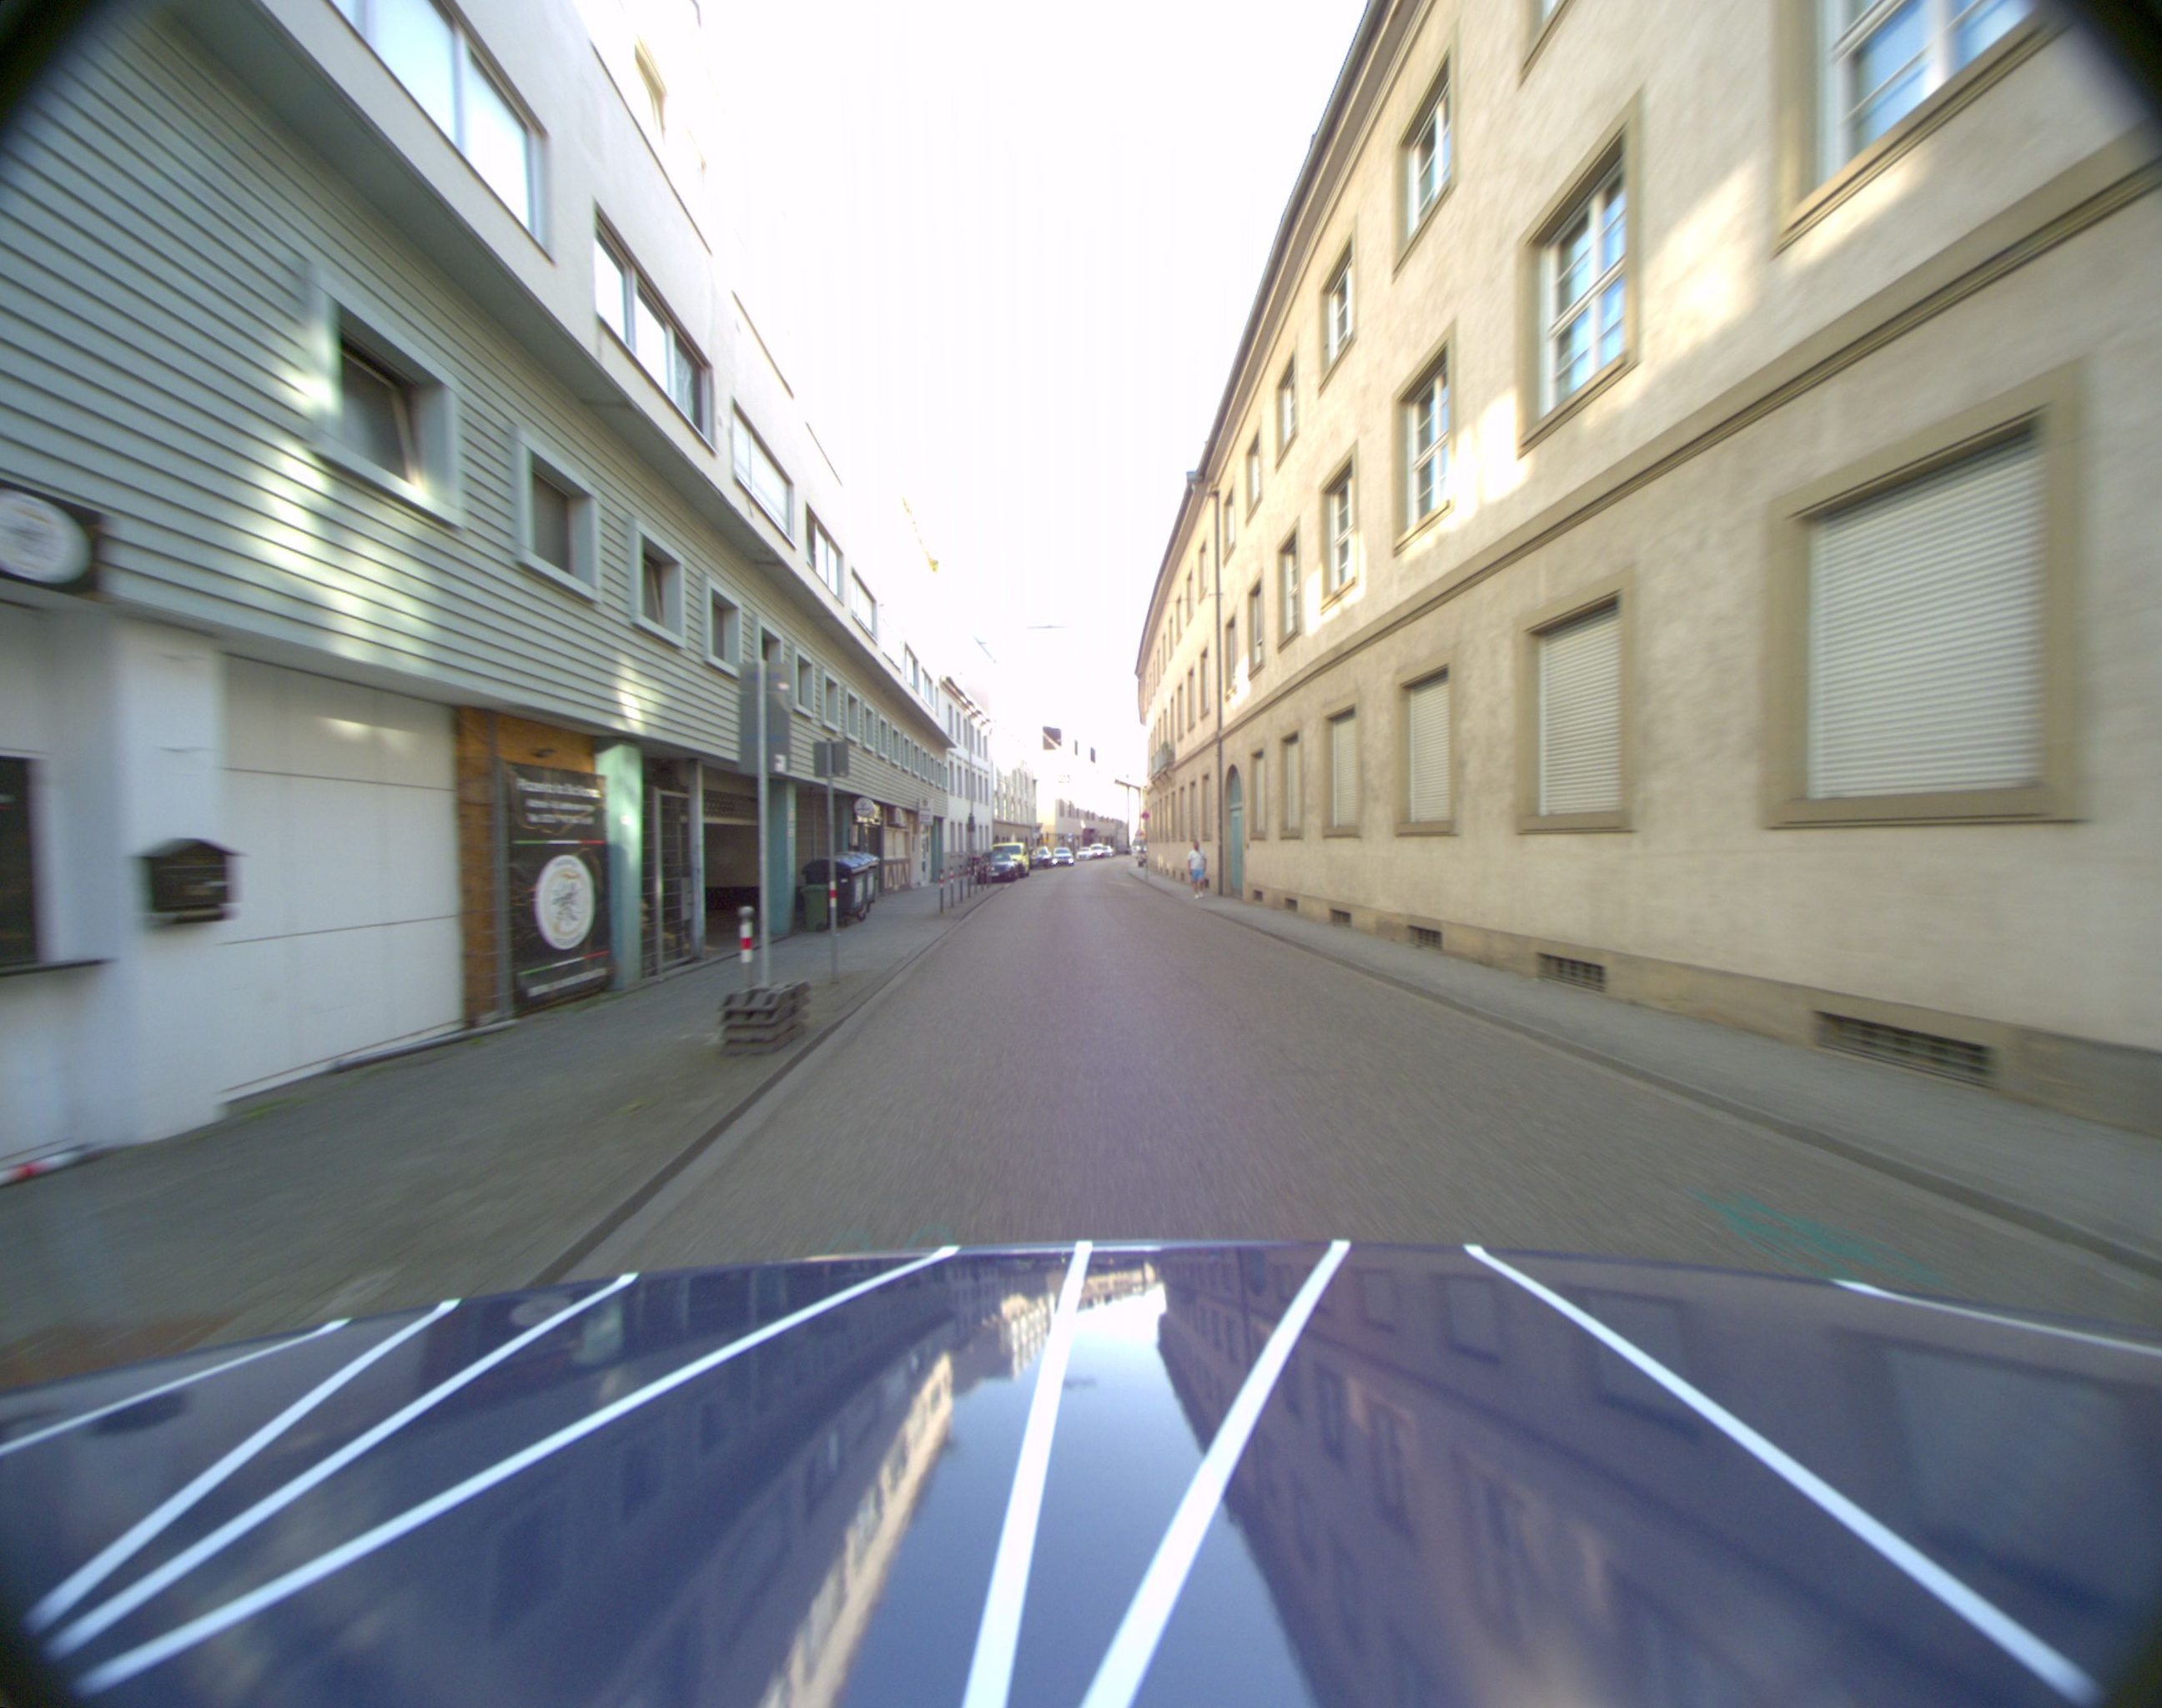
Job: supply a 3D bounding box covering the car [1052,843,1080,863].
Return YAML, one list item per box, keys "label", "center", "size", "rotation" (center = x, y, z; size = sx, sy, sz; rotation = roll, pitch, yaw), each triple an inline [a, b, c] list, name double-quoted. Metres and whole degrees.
- label: "car"
  center: [-1.234, -0.142, 64.075]
  size: [1.829, 1.550, 3.987]
  rotation: [-2, 1, 6]

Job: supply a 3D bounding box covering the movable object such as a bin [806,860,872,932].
- label: "movable object such as a bin"
  center: [-5.095, 0.862, 16.098]
  size: [0.984, 1.377, 1.319]
  rotation: [1, 4, -2]

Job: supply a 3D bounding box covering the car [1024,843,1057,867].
- label: "car"
  center: [-3.043, 0.048, 58.050]
  size: [1.829, 1.645, 4.494]
  rotation: [-1, 1, 5]

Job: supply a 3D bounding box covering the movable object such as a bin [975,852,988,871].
- label: "movable object such as a bin"
  center: [-5.743, 0.435, 44.055]
  size: [0.628, 1.045, 0.708]
  rotation: [4, 2, -4]

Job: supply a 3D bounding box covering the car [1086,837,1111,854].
- label: "car"
  center: [2.236, -1.127, 94.525]
  size: [1.946, 1.850, 5.198]
  rotation: [-5, 0, 13]

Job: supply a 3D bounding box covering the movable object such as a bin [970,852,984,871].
- label: "movable object such as a bin"
  center: [-5.922, 0.435, 43.259]
  size: [0.607, 1.045, 0.708]
  rotation: [4, 2, 0]

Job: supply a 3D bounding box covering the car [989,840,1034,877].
- label: "car"
  center: [-3.751, 0.195, 41.856]
  size: [1.888, 1.871, 4.844]
  rotation: [-2, 1, 1]

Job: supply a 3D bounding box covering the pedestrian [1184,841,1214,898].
- label: "pedestrian"
  center: [3.586, 0.464, 23.143]
  size: [0.694, 1.660, 0.874]
  rotation: [-3, 2, 0]

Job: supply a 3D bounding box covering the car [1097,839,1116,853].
- label: "car"
  center: [3.402, -1.073, 100.740]
  size: [1.774, 1.574, 3.859]
  rotation: [-5, 0, 13]

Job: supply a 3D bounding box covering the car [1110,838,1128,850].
- label: "car"
  center: [5.602, -1.512, 110.509]
  size: [1.774, 1.574, 3.860]
  rotation: [-5, 0, 14]

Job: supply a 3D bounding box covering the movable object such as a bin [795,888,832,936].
- label: "movable object such as a bin"
  center: [-5.331, 1.150, 15.163]
  size: [0.558, 0.894, 0.522]
  rotation: [1, 4, -2]

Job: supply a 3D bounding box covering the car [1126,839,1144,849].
- label: "car"
  center: [8.566, -1.611, 120.570]
  size: [1.963, 1.400, 4.200]
  rotation: [-2, 1, 16]

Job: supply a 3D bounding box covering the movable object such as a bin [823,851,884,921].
- label: "movable object such as a bin"
  center: [-5.268, 0.707, 17.718]
  size: [0.984, 1.472, 1.550]
  rotation: [1, 4, -2]

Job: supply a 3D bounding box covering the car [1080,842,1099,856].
- label: "car"
  center: [1.000, -0.647, 88.061]
  size: [1.734, 1.539, 4.002]
  rotation: [-2, 1, 8]

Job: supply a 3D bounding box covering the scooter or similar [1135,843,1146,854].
- label: "scooter or similar"
  center: [6.948, -0.642, 89.115]
  size: [1.302, 1.218, 0.467]
  rotation: [0, 2, -43]

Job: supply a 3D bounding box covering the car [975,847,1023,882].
- label: "car"
  center: [-3.827, 0.451, 36.189]
  size: [1.888, 1.481, 4.366]
  rotation: [-2, 1, -1]
